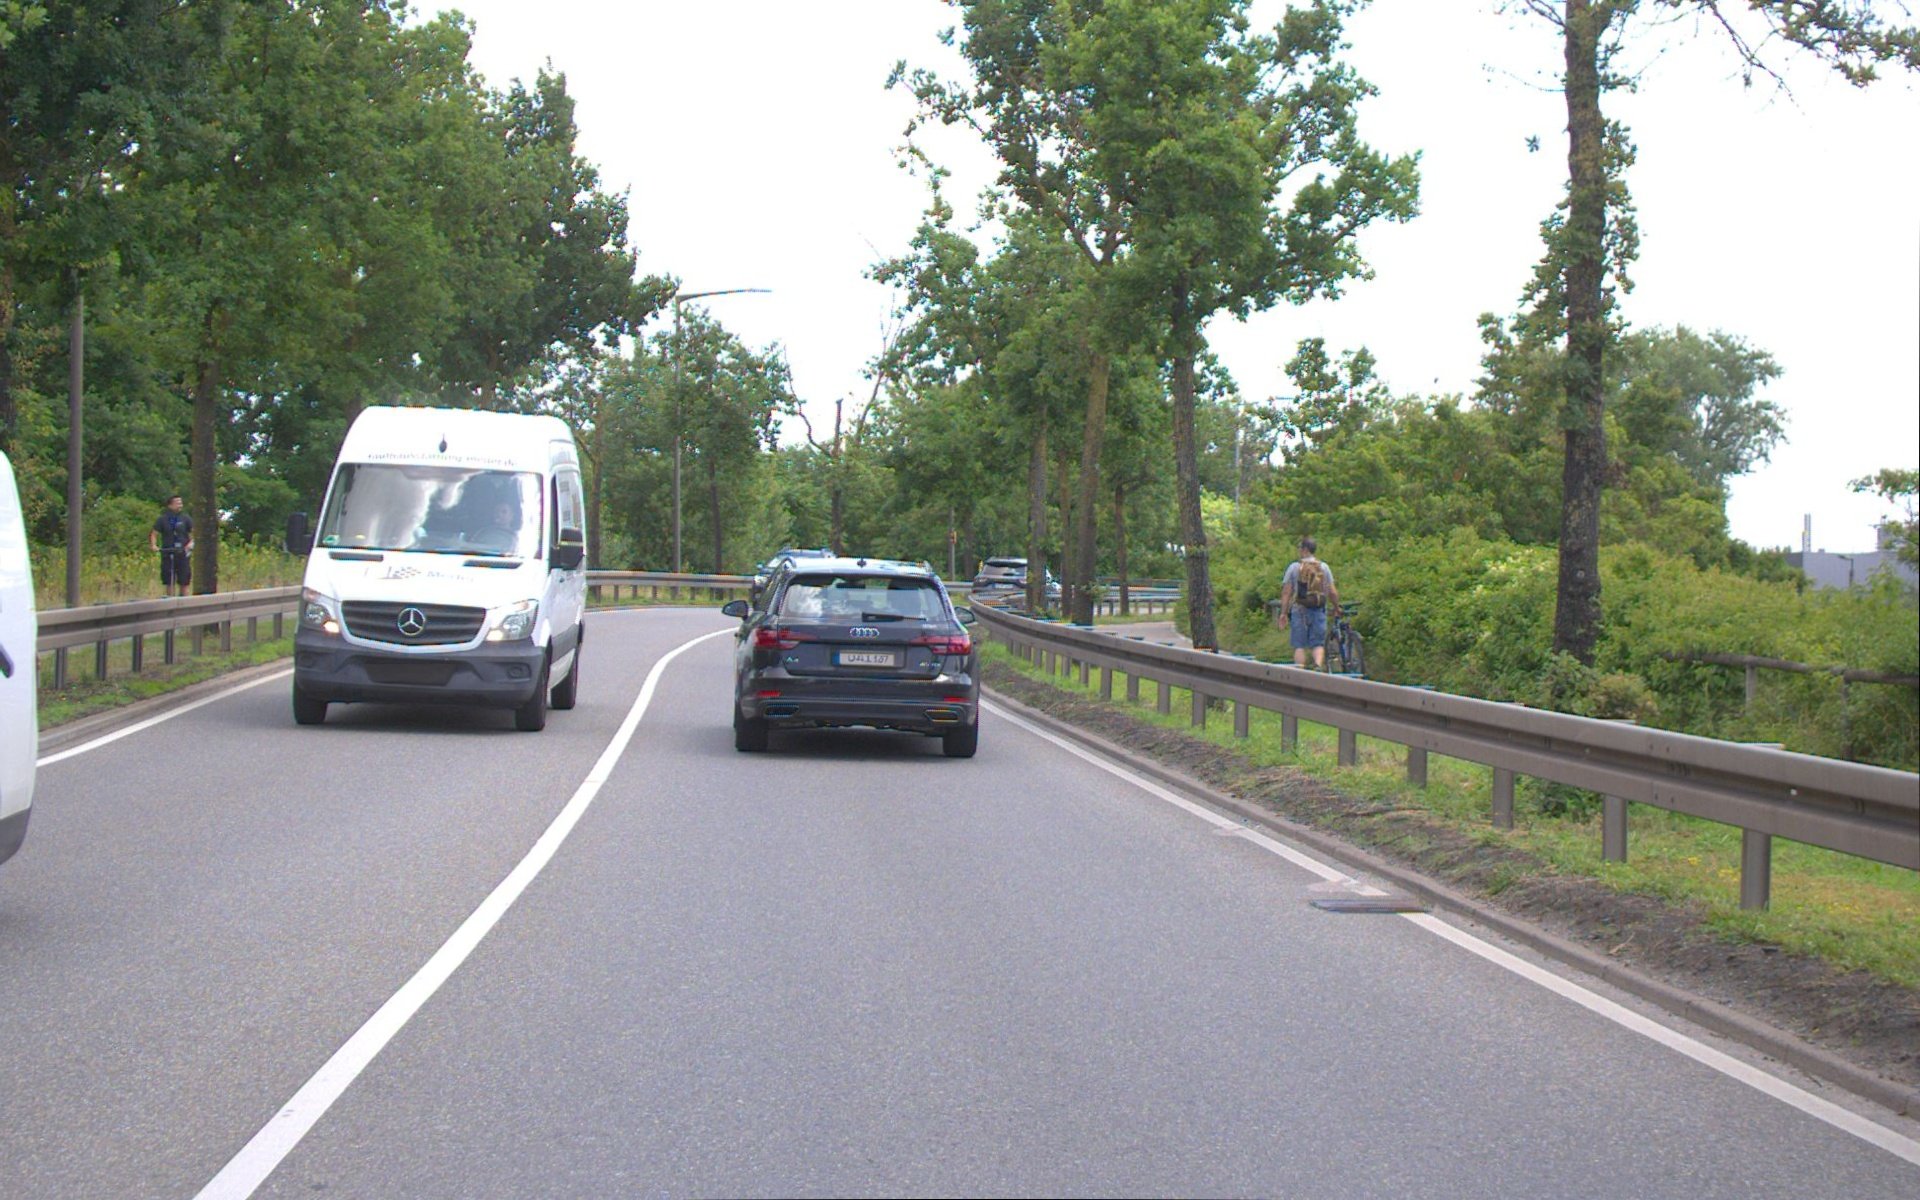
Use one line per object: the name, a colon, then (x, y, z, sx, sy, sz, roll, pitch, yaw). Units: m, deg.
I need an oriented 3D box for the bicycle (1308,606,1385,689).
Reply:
bicycle: (4.268, 0.518, 38.039, 0.556, 0.866, 1.826, 0, 1, -3)

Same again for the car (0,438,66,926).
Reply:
car: (-4.586, 0.338, 11.382, 1.776, 1.860, 5.267, 0, 1, 1)

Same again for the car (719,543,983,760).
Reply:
car: (-0.810, 0.327, 26.329, 1.828, 1.486, 4.207, 1, 1, -1)

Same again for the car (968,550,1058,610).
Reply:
car: (1.418, -0.549, 90.690, 1.579, 1.515, 3.998, 1, 1, 12)

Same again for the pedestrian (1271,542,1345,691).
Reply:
pedestrian: (3.863, 0.172, 38.198, 0.657, 1.636, 1.055, 0, 1, -3)

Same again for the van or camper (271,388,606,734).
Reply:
van or camper: (-4.255, -0.347, 29.028, 1.993, 2.573, 5.982, 1, 1, -1)

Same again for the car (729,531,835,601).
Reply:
car: (-4.311, -0.826, 83.838, 1.781, 1.601, 4.157, 3, 1, 8)
